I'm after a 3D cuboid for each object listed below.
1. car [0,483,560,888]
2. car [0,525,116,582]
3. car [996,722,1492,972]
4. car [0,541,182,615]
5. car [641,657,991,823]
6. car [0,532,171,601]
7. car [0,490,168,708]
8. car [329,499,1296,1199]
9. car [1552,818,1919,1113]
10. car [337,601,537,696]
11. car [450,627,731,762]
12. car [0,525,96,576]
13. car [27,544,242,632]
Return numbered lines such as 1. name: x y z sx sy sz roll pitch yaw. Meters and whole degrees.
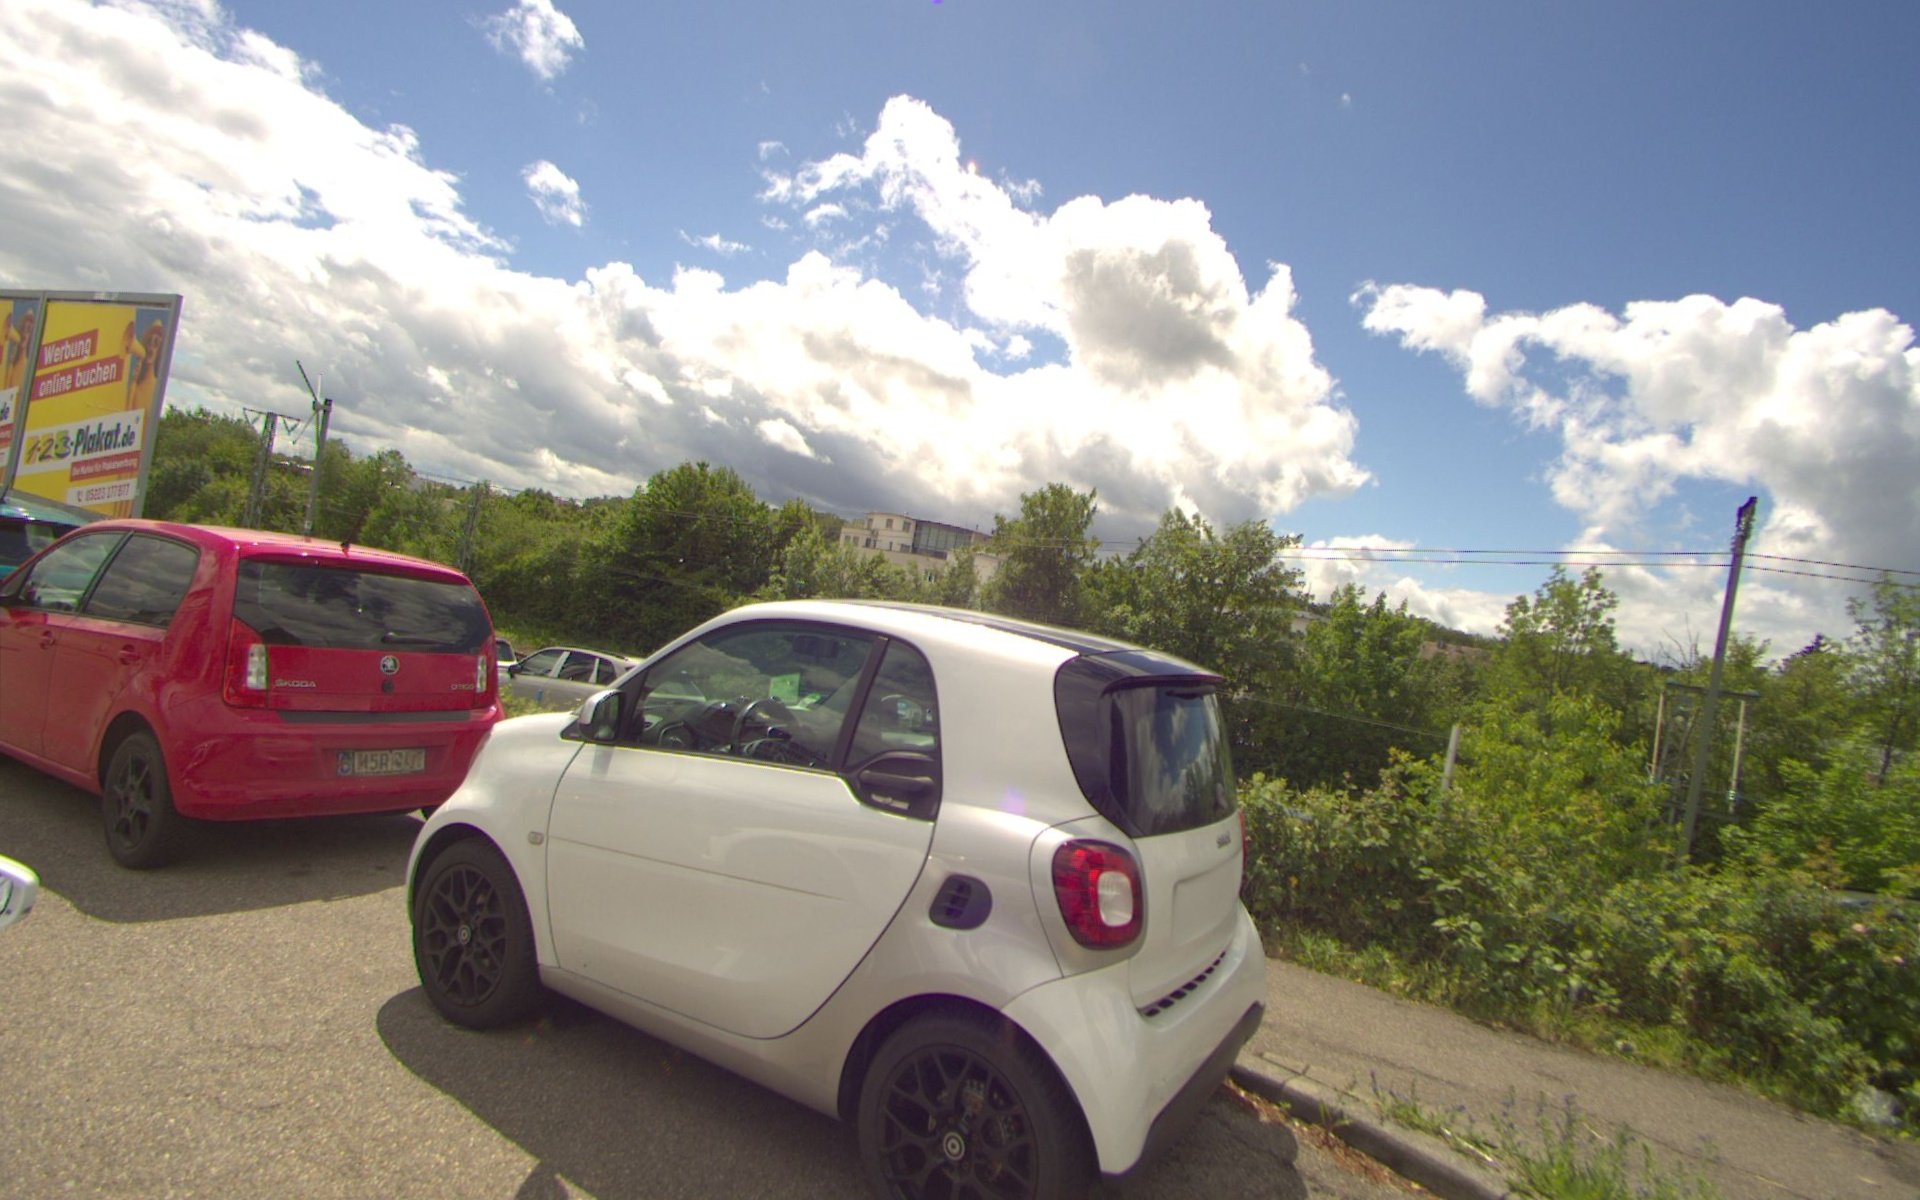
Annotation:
1. car: -4.075 0.287 5.503 3.441 1.498 1.596 7 -2 31
2. car: -33.705 -1.778 36.373 1.970 1.572 4.448 6 -2 37
3. car: 2.822 2.299 10.360 4.481 1.367 1.819 6 -2 32
4. car: -24.644 -0.609 28.430 3.966 1.504 1.796 9 -2 -36
5. car: -2.025 1.779 13.619 4.481 1.367 1.819 6 -2 32
6. car: -27.732 -1.047 31.956 3.966 1.558 1.771 9 -2 -36
7. car: -8.146 -0.192 7.853 3.911 1.467 1.597 7 -2 29
8. car: -0.503 0.636 3.525 2.809 1.540 1.597 7 -2 29
9. car: 7.044 2.839 7.414 4.481 1.367 1.819 6 -2 32
10. car: -9.893 0.907 18.969 3.650 1.274 1.575 7 -2 31
11. car: -6.055 1.465 16.334 4.481 1.458 1.819 6 -2 32
12. car: -36.896 -2.054 39.621 1.797 1.577 3.985 6 -2 40
13. car: -20.878 -0.275 25.544 1.695 1.654 3.978 6 -2 45
